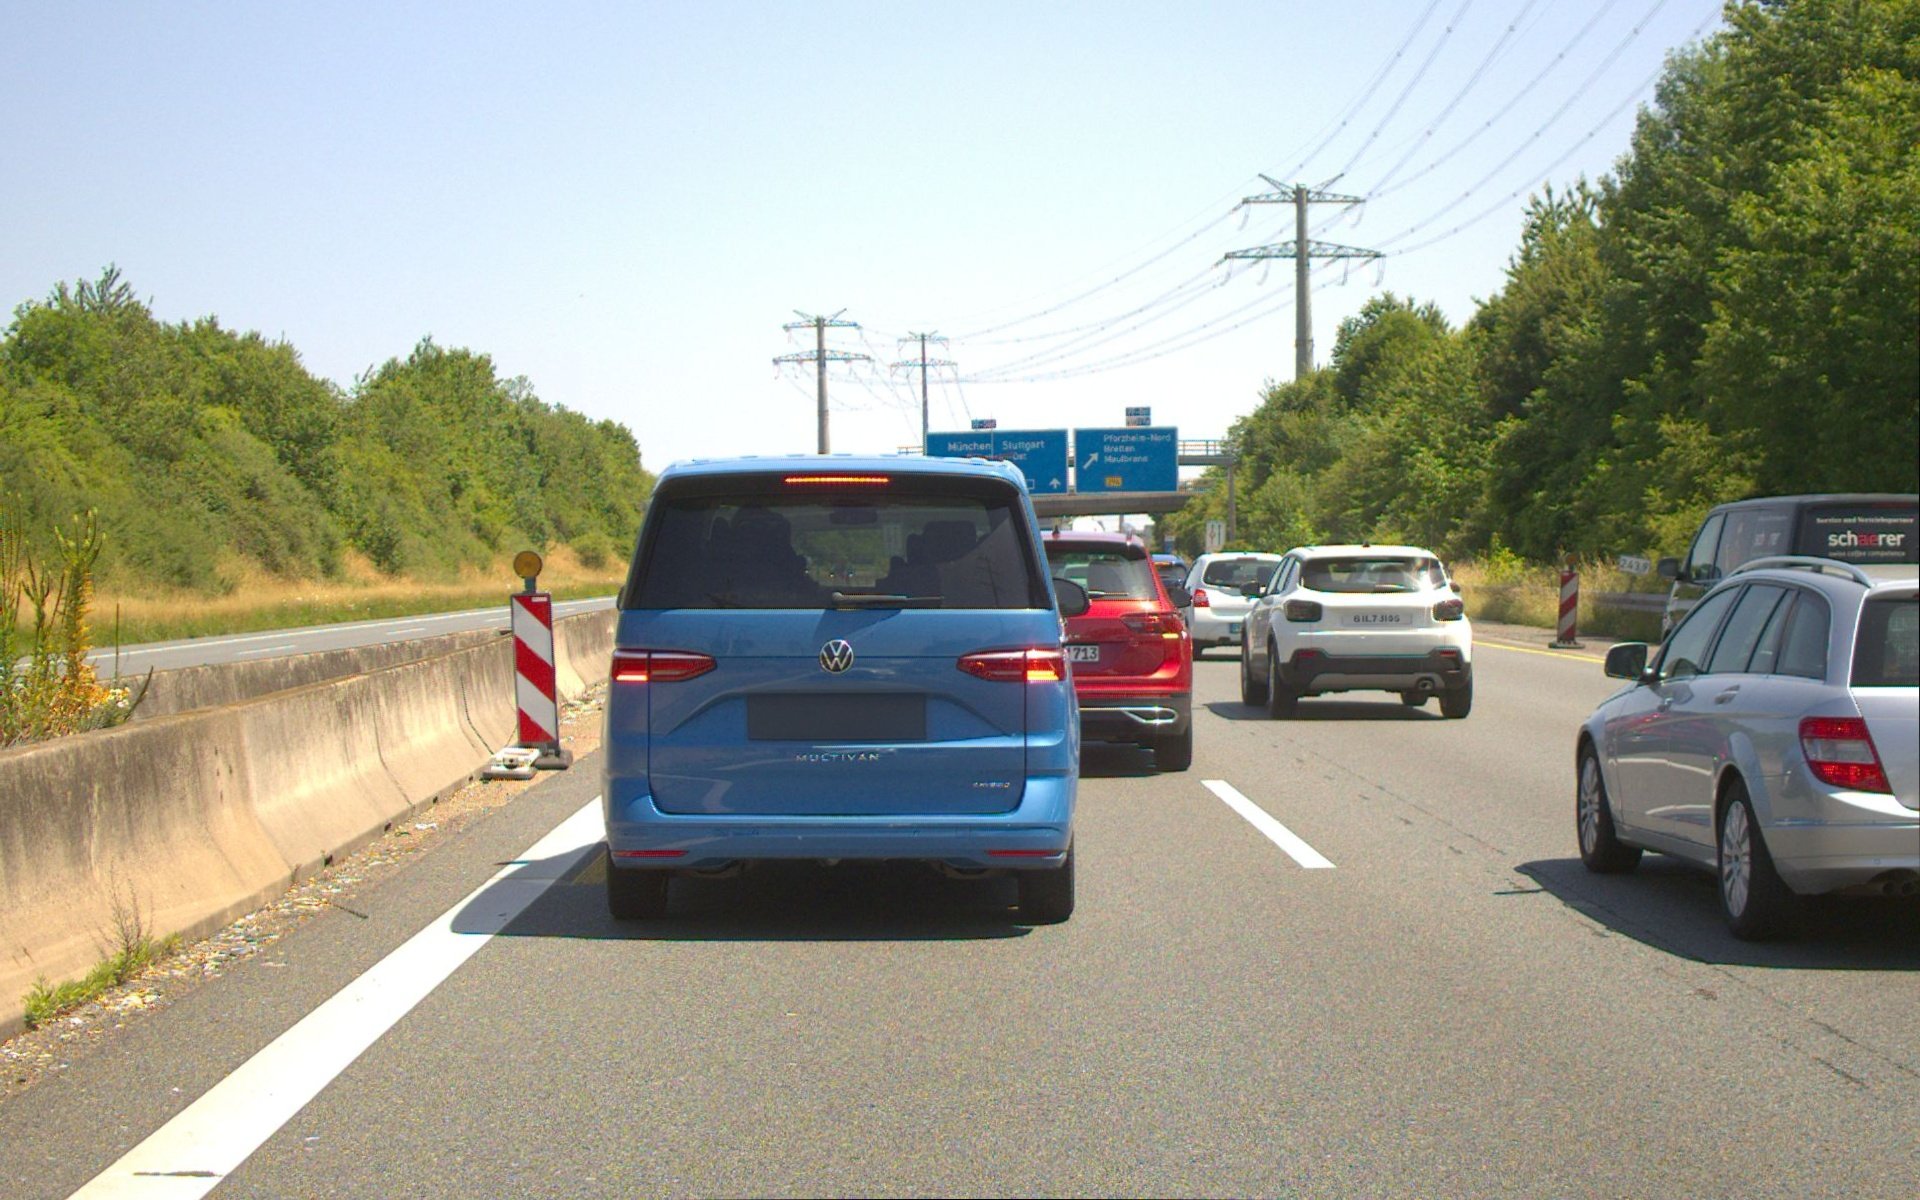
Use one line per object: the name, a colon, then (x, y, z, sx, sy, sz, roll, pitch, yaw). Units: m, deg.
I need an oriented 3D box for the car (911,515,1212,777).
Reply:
car: (0.627, 0.272, 24.371, 1.874, 1.665, 4.360, 1, 1, -1)

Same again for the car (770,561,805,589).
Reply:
car: (-10.922, -1.593, 217.826, 1.993, 1.656, 4.230, -1, 1, -1)

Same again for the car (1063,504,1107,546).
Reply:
car: (7.369, -4.407, 203.363, 2.377, 2.420, 4.227, 1, 1, -1)

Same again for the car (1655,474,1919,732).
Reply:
car: (7.207, 0.003, 29.039, 1.797, 2.007, 4.227, 1, 1, 0)

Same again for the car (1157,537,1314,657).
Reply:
car: (3.812, -0.067, 48.192, 1.797, 1.588, 4.227, 1, 1, -1)

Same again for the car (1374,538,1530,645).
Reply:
car: (7.722, -0.150, 54.268, 1.797, 1.588, 4.227, 1, 1, -1)

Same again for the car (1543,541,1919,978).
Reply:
car: (3.710, 0.537, 14.130, 1.770, 1.512, 4.360, 1, 1, -1)

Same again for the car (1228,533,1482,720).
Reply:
car: (3.569, 0.202, 31.751, 1.797, 1.588, 4.227, 1, 1, -1)

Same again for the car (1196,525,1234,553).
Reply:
car: (15.822, -3.776, 213.591, 1.874, 1.665, 4.360, 1, 1, -1)

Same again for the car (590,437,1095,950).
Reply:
car: (-0.494, 0.328, 15.136, 1.874, 1.905, 4.360, 1, 1, -1)

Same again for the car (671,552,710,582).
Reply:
car: (-16.480, -2.033, 210.529, 1.993, 1.644, 4.630, -3, 1, 0)

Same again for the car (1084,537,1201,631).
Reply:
car: (3.204, -0.299, 60.995, 1.797, 1.588, 4.227, 1, 1, -1)

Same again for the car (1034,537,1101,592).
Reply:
car: (3.158, -1.056, 101.797, 1.797, 1.588, 4.227, 1, 1, -1)
